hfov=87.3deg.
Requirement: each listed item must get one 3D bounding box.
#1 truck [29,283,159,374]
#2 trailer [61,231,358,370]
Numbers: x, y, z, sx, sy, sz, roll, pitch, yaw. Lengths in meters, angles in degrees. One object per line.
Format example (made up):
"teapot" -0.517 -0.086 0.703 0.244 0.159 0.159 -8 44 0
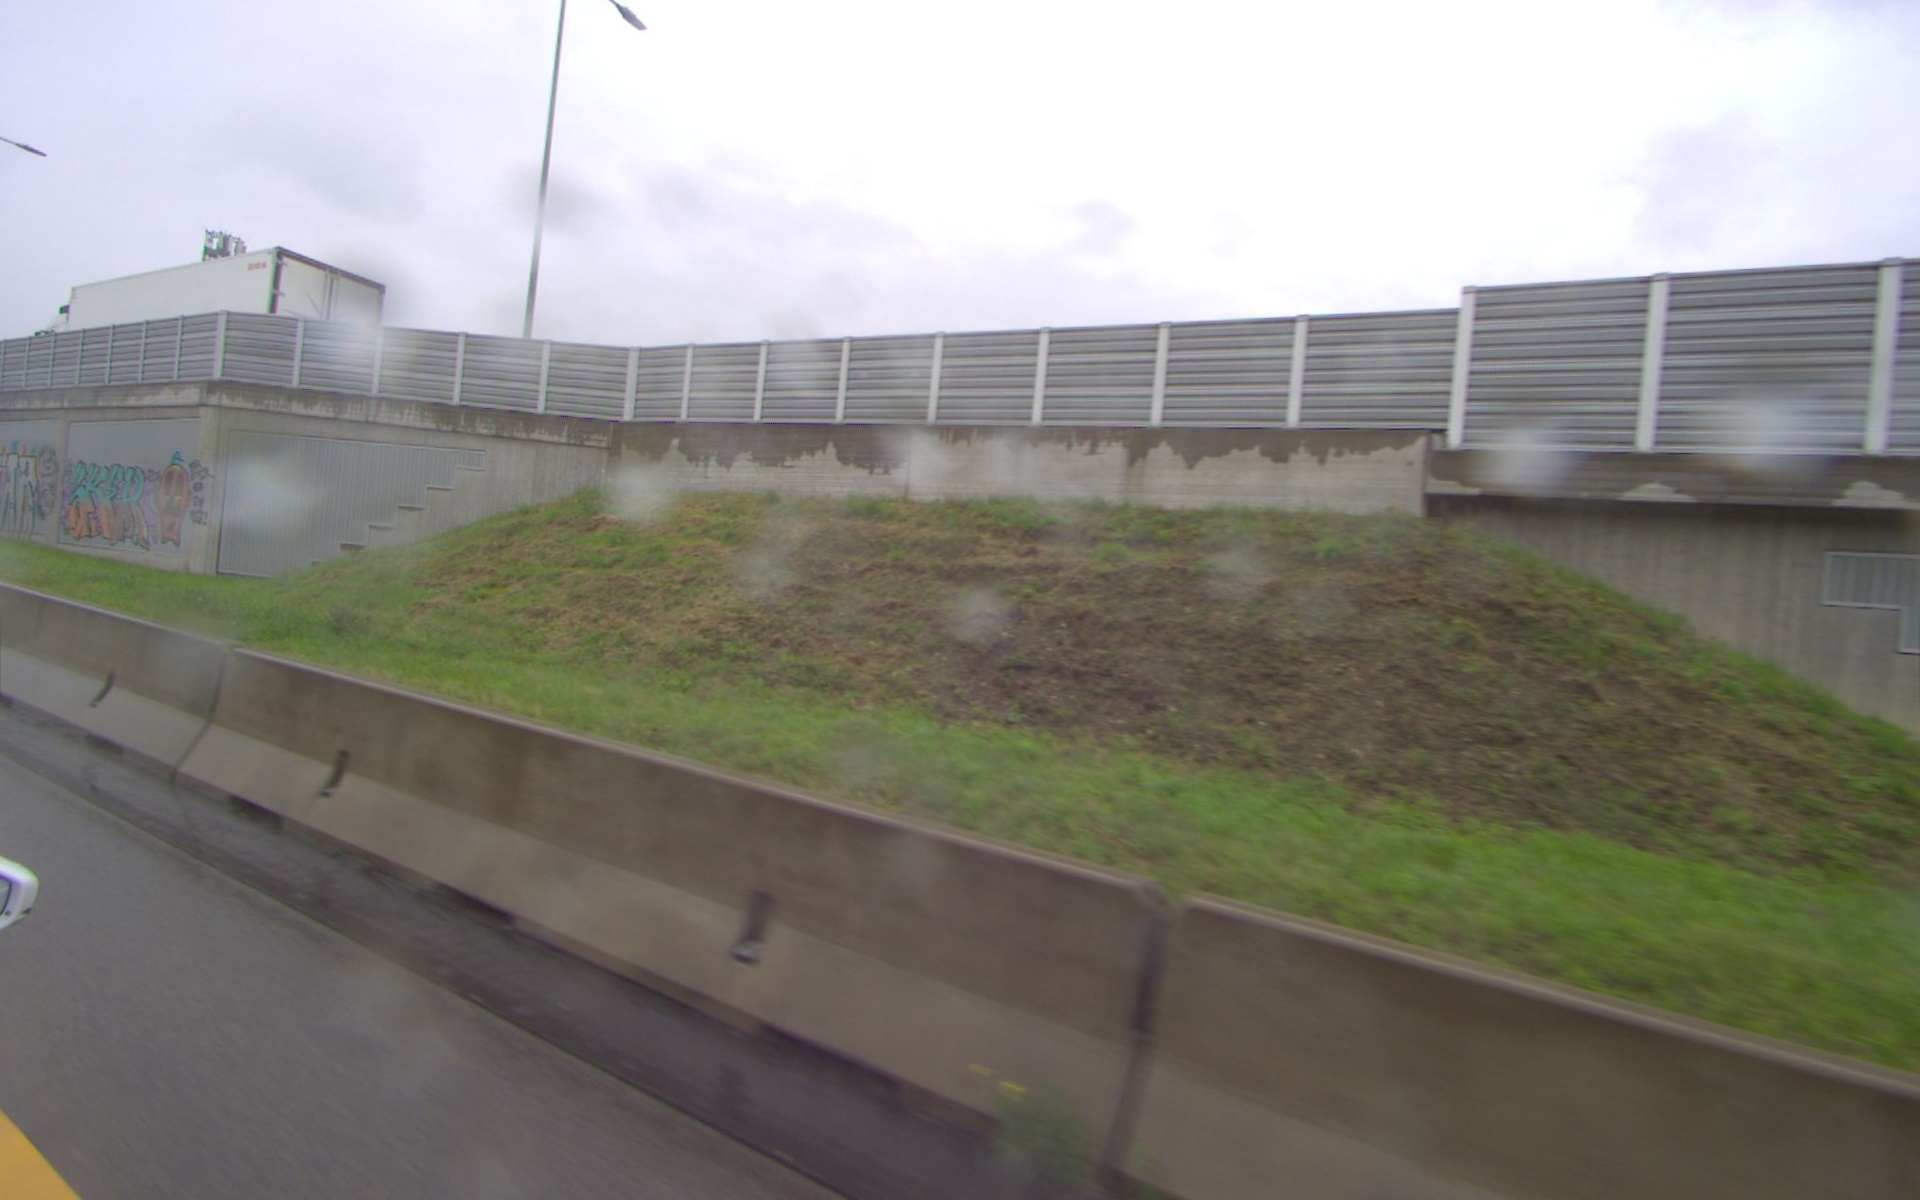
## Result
"truck" -28.120 -8.724 32.644 3.992 2.037 1.996 5 -2 33
"trailer" -21.714 -8.194 28.564 13.545 2.130 1.996 5 -2 33
